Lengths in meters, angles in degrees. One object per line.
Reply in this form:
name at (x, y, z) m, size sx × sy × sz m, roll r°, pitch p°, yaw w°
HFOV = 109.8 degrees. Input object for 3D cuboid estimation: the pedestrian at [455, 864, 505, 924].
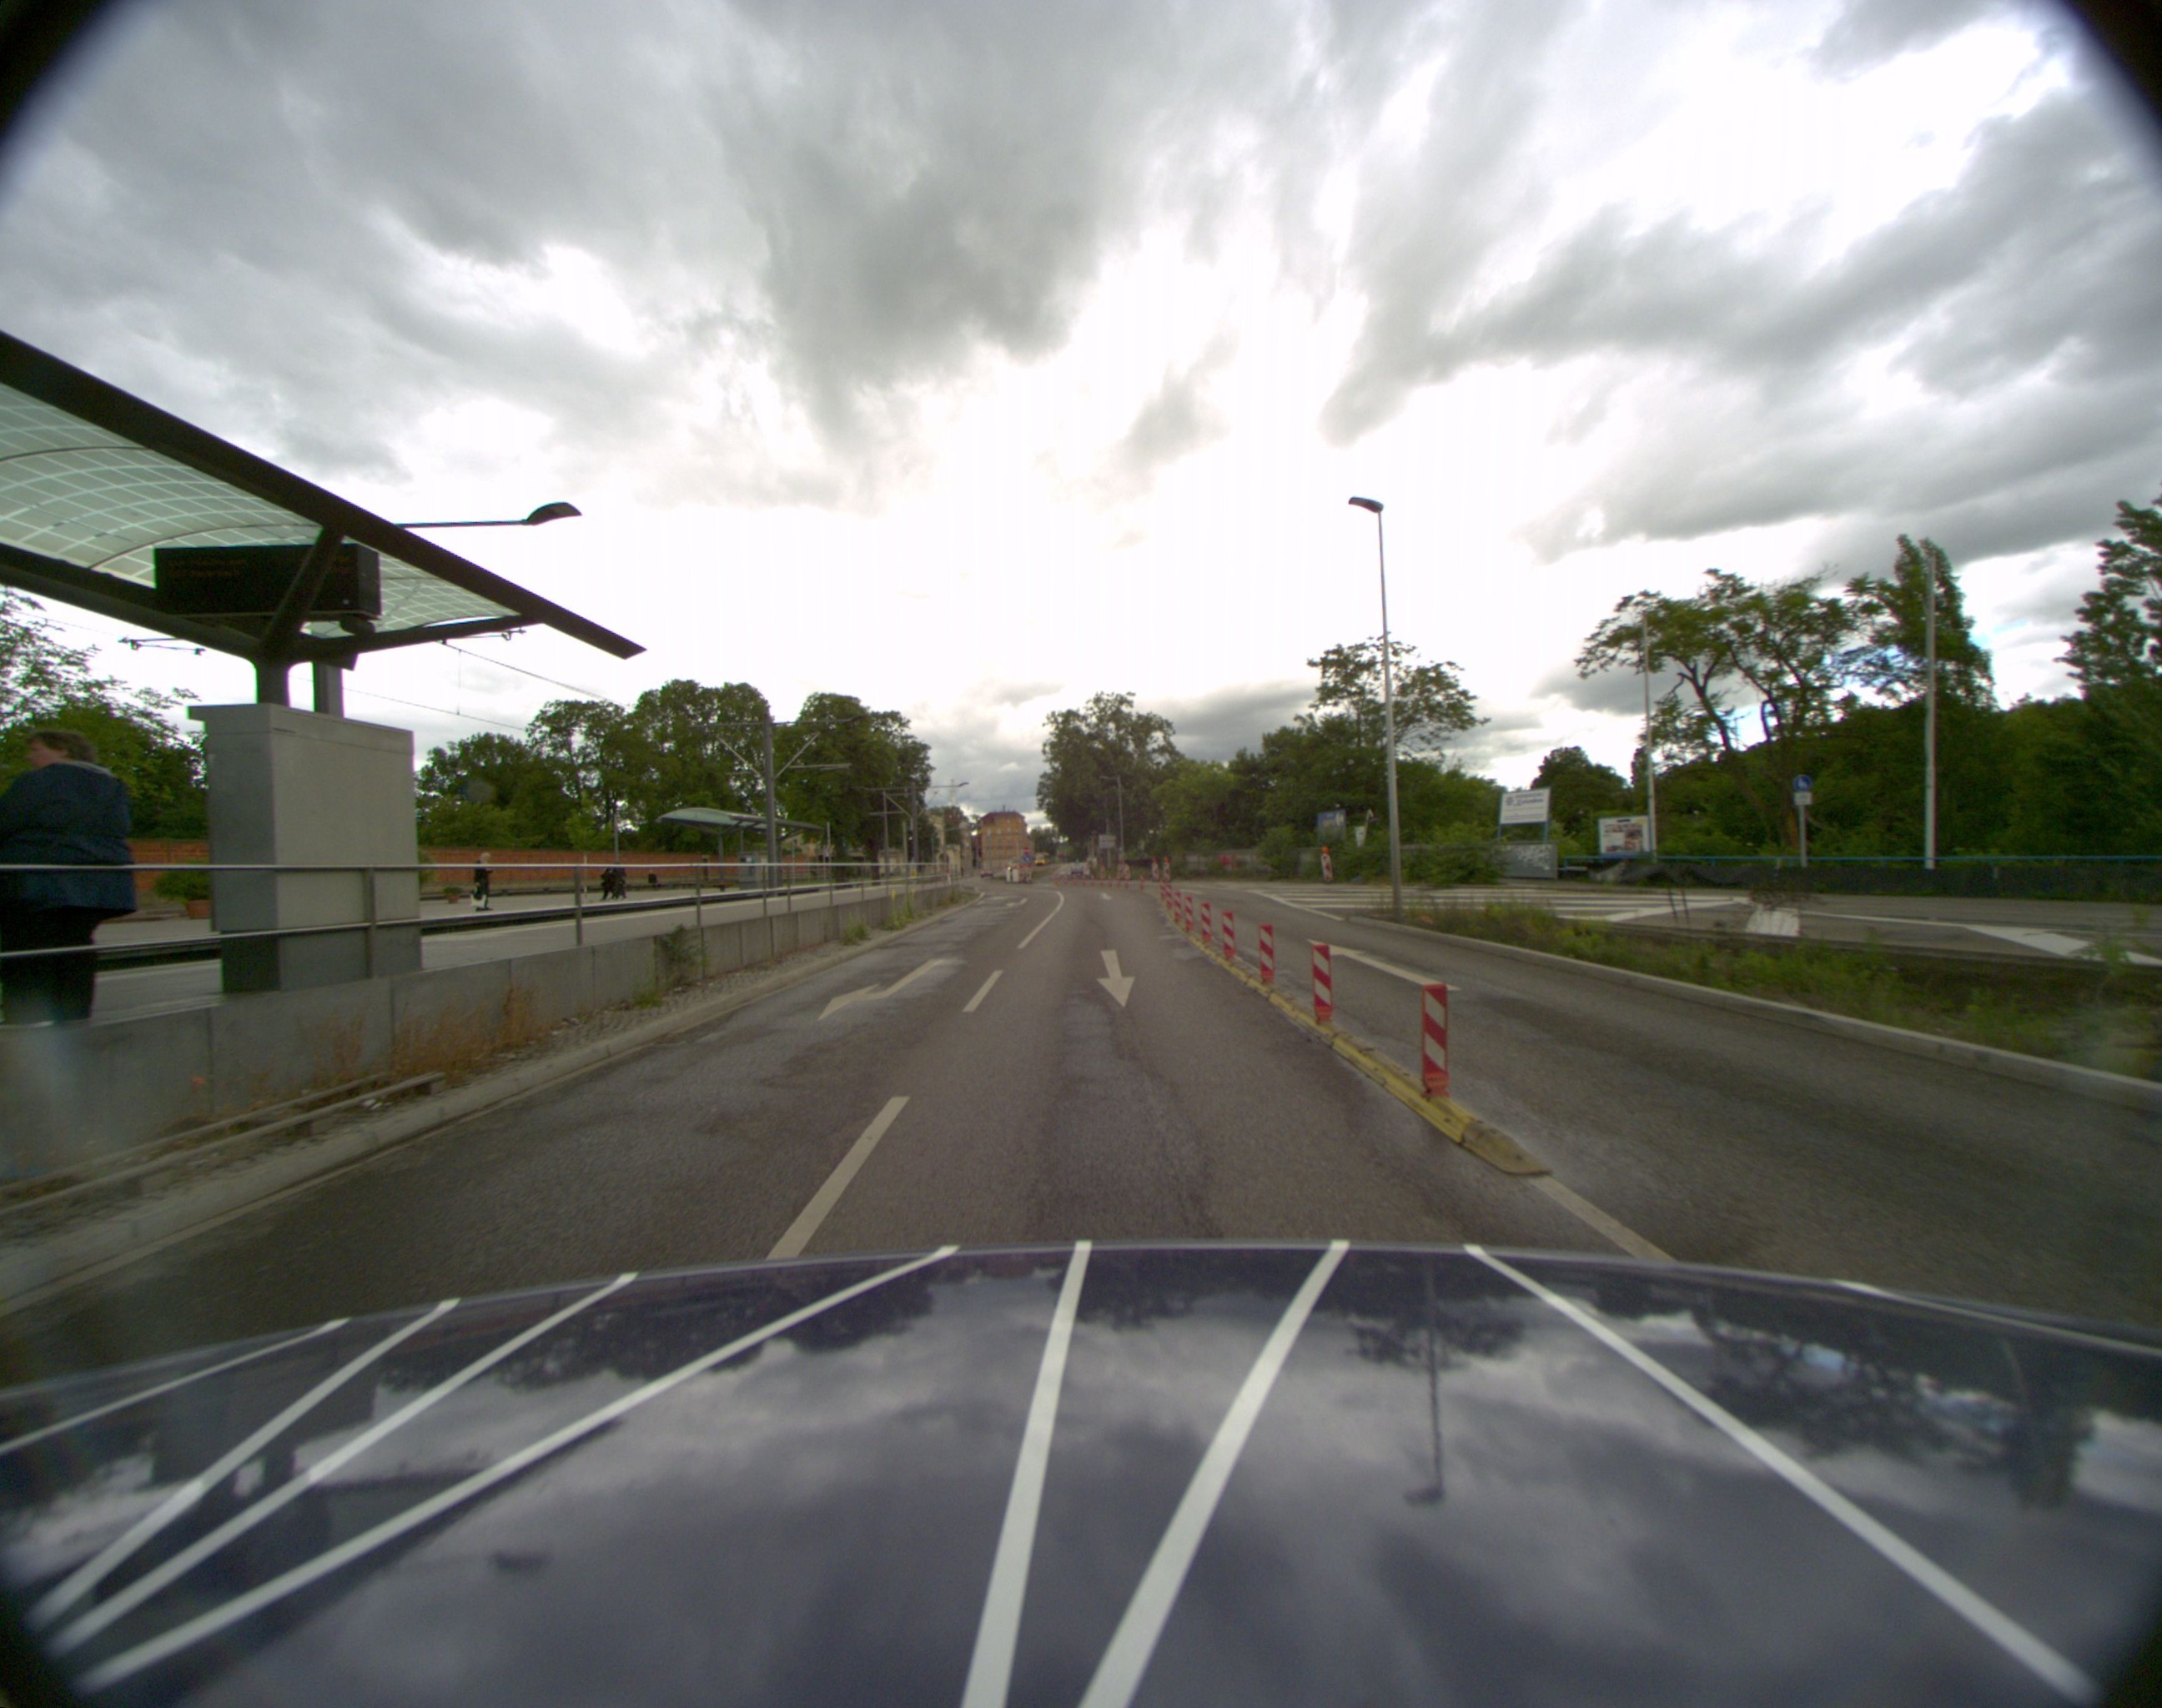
pedestrian at (-17.597, 1.157, 22.270) m, size 0.634 × 1.677 × 0.866 m, roll -5°, pitch 0°, yaw 0°

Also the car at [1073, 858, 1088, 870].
car at (-0.060, 1.530, 119.287) m, size 1.869 × 1.771 × 4.747 m, roll -3°, pitch 0°, yaw -4°

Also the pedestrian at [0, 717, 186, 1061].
pedestrian at (-5.660, 0.205, 4.082) m, size 0.772 × 1.689 × 0.732 m, roll -5°, pitch -2°, yaw 2°

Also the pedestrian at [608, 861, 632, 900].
pedestrian at (-19.922, 1.145, 32.862) m, size 0.487 × 1.650 × 0.628 m, roll -5°, pitch 0°, yaw 9°

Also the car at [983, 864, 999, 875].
car at (-13.334, 2.342, 112.752) m, size 1.681 × 1.433 × 4.119 m, roll -5°, pitch -1°, yaw -1°

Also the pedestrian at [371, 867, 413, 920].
pedestrian at (-24.921, 1.419, 27.496) m, size 0.549 × 1.827 × 0.952 m, roll -5°, pitch 0°, yaw -6°

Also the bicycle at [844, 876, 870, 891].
bicycle at (-19.239, 2.519, 65.339) m, size 1.995 × 1.151 × 0.741 m, roll -2°, pitch 0°, yaw 5°

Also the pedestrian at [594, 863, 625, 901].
pedestrian at (-20.642, 1.228, 33.280) m, size 0.741 × 1.591 × 0.772 m, roll -5°, pitch 0°, yaw 9°

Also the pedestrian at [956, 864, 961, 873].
pedestrian at (-23.206, 2.732, 144.271) m, size 0.672 × 1.757 × 0.937 m, roll -2°, pitch 0°, yaw -1°

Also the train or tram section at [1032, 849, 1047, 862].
train or tram section at (-11.726, 0.380, 217.202) m, size 3.739 × 3.346 × 17.553 m, roll -2°, pitch 0°, yaw -1°
